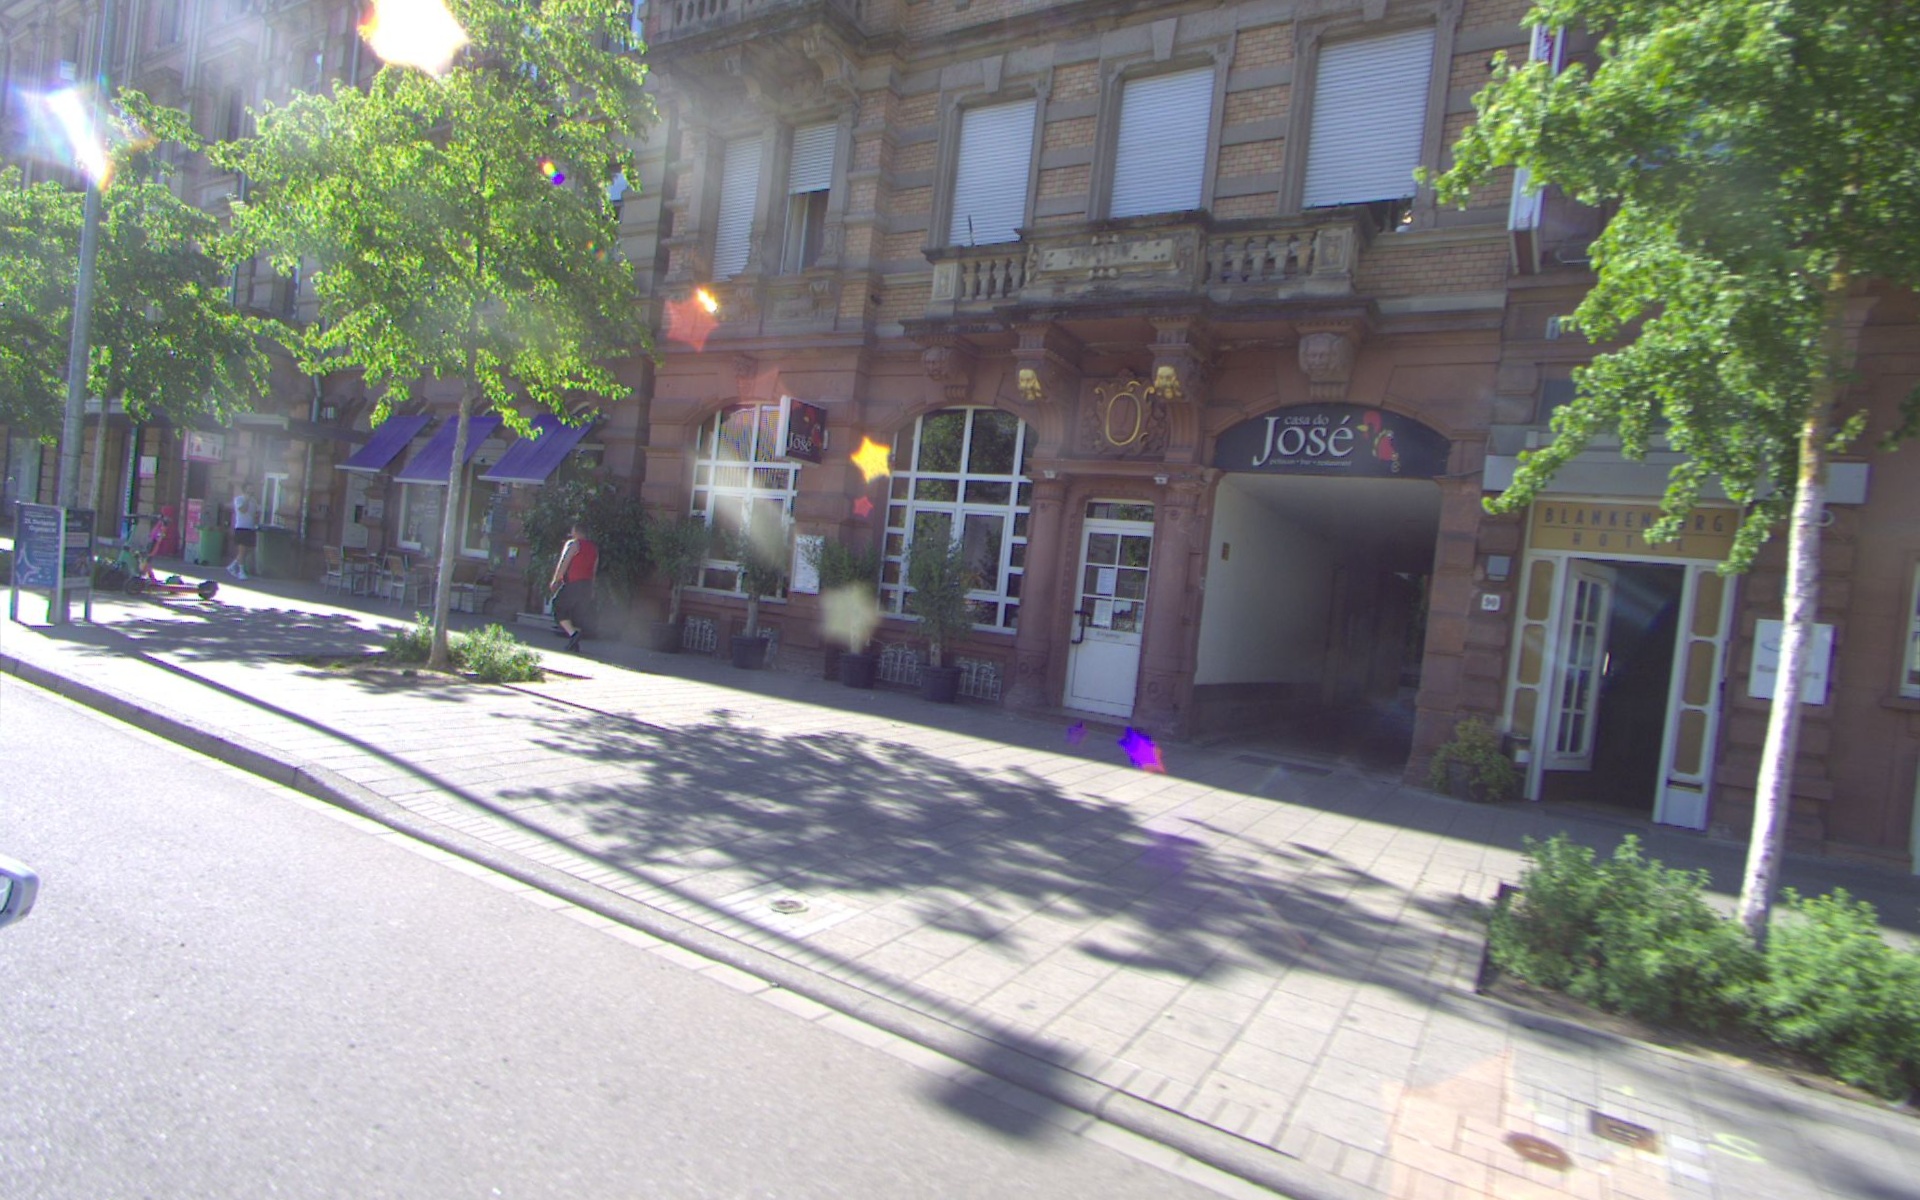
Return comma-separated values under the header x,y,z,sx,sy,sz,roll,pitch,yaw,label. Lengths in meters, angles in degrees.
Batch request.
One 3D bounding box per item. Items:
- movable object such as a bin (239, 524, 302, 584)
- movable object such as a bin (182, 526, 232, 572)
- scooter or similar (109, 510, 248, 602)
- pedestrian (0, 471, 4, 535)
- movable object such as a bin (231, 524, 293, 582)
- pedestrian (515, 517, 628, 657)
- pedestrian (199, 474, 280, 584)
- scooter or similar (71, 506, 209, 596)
x,y,z,sx,sy,sz,roll,pitch,yaw,label
-14.274,-0.952,20.822,0.734,1.111,0.726,7,1,27,movable object such as a bin
-16.954,-1.154,22.652,0.639,0.927,0.605,7,1,27,movable object such as a bin
-11.630,-0.630,15.019,0.591,1.233,1.475,8,3,27,scooter or similar
-27.003,-2.716,27.616,0.872,1.764,0.844,6,1,32,pedestrian
-14.824,-0.993,21.370,0.734,1.111,0.726,7,1,27,movable object such as a bin
-5.213,-0.164,13.513,0.851,1.754,0.996,6,2,31,pedestrian
-14.299,-1.394,19.962,1.029,2.037,0.819,4,-1,31,pedestrian
-12.375,-0.713,15.227,0.591,1.233,1.476,8,3,21,scooter or similar
